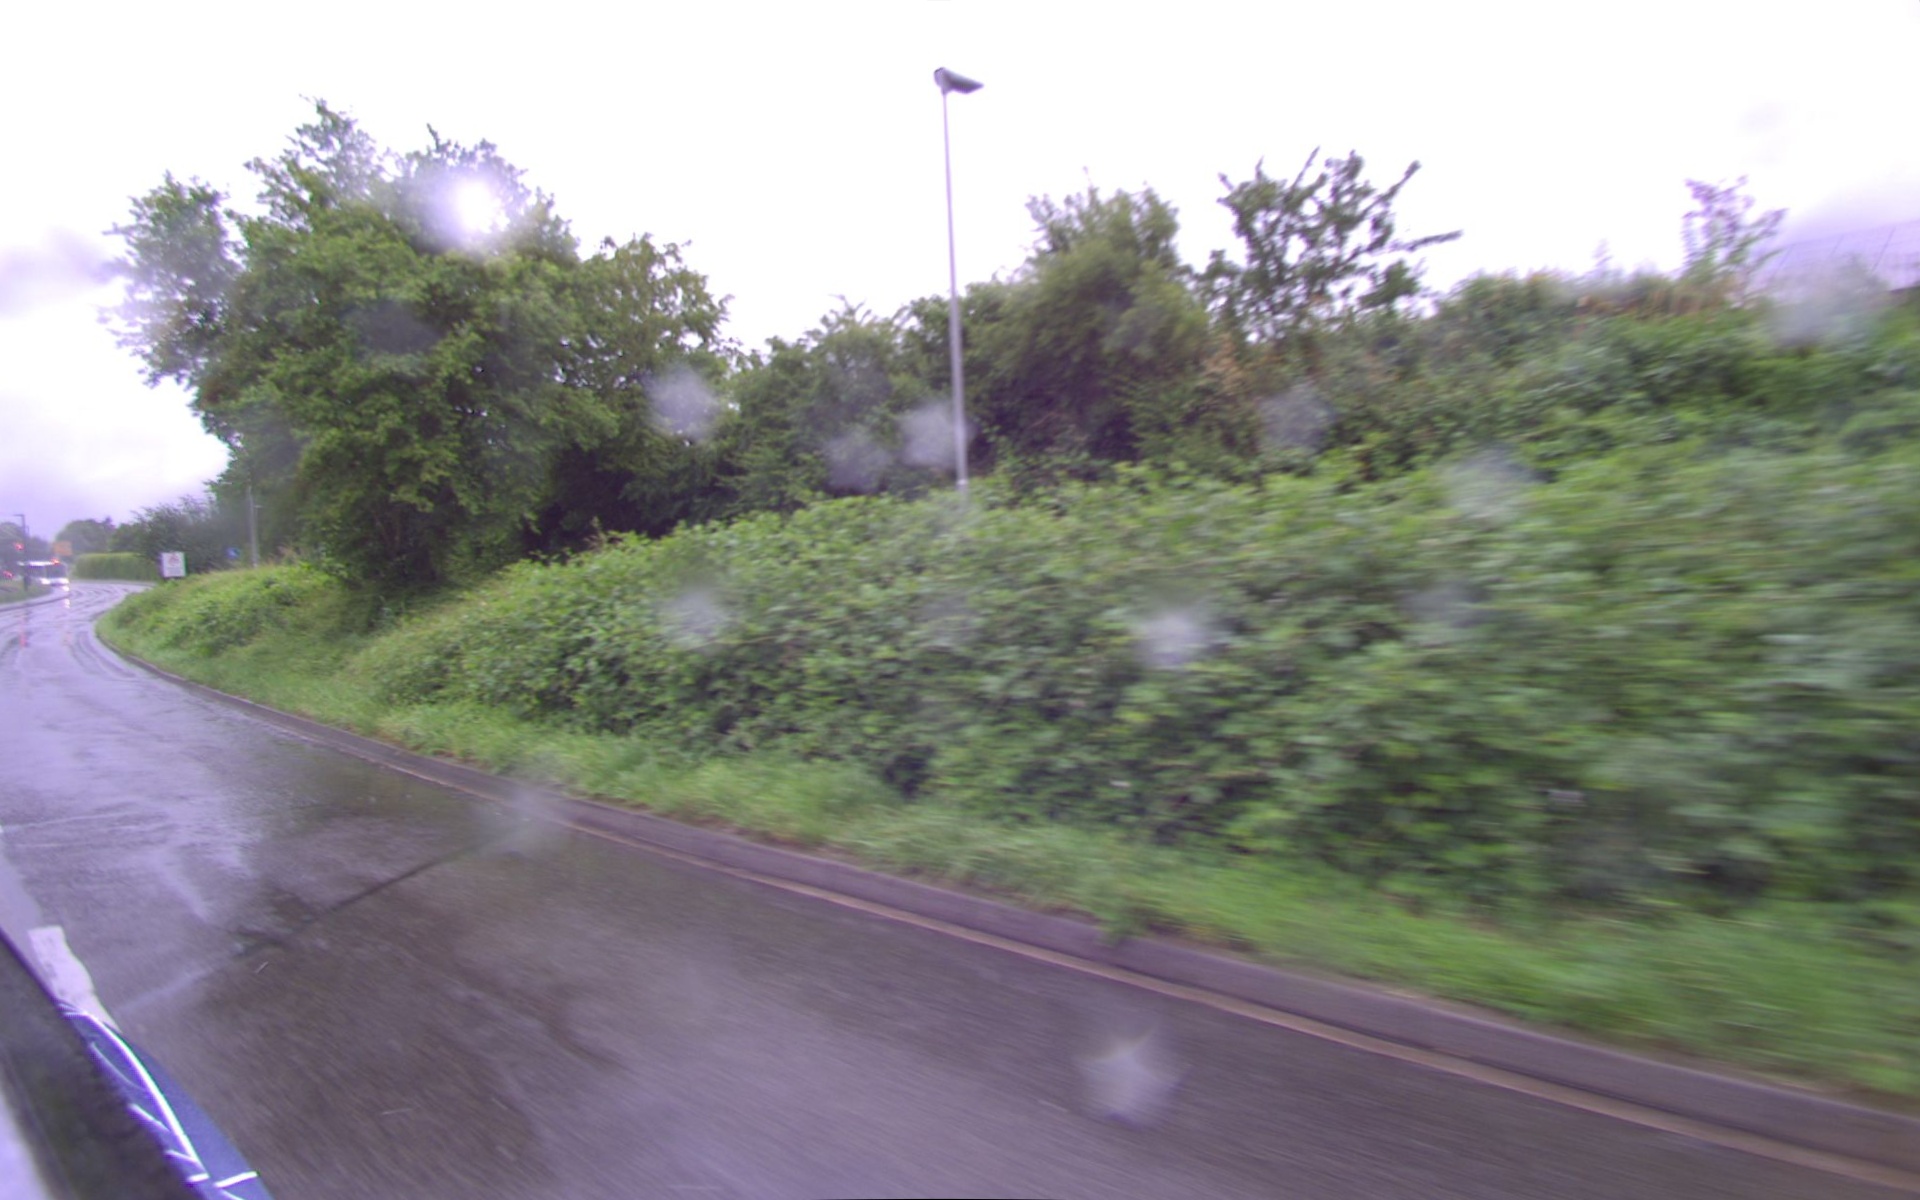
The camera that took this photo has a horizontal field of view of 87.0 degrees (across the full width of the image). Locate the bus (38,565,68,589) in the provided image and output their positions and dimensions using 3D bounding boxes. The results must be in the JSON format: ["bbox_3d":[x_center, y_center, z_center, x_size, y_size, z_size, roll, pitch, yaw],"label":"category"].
[{"bbox_3d":[-124.974,-3.277,139.391,2.639,3.100,10.003,-3,4,-44],"label":"bus"}]
